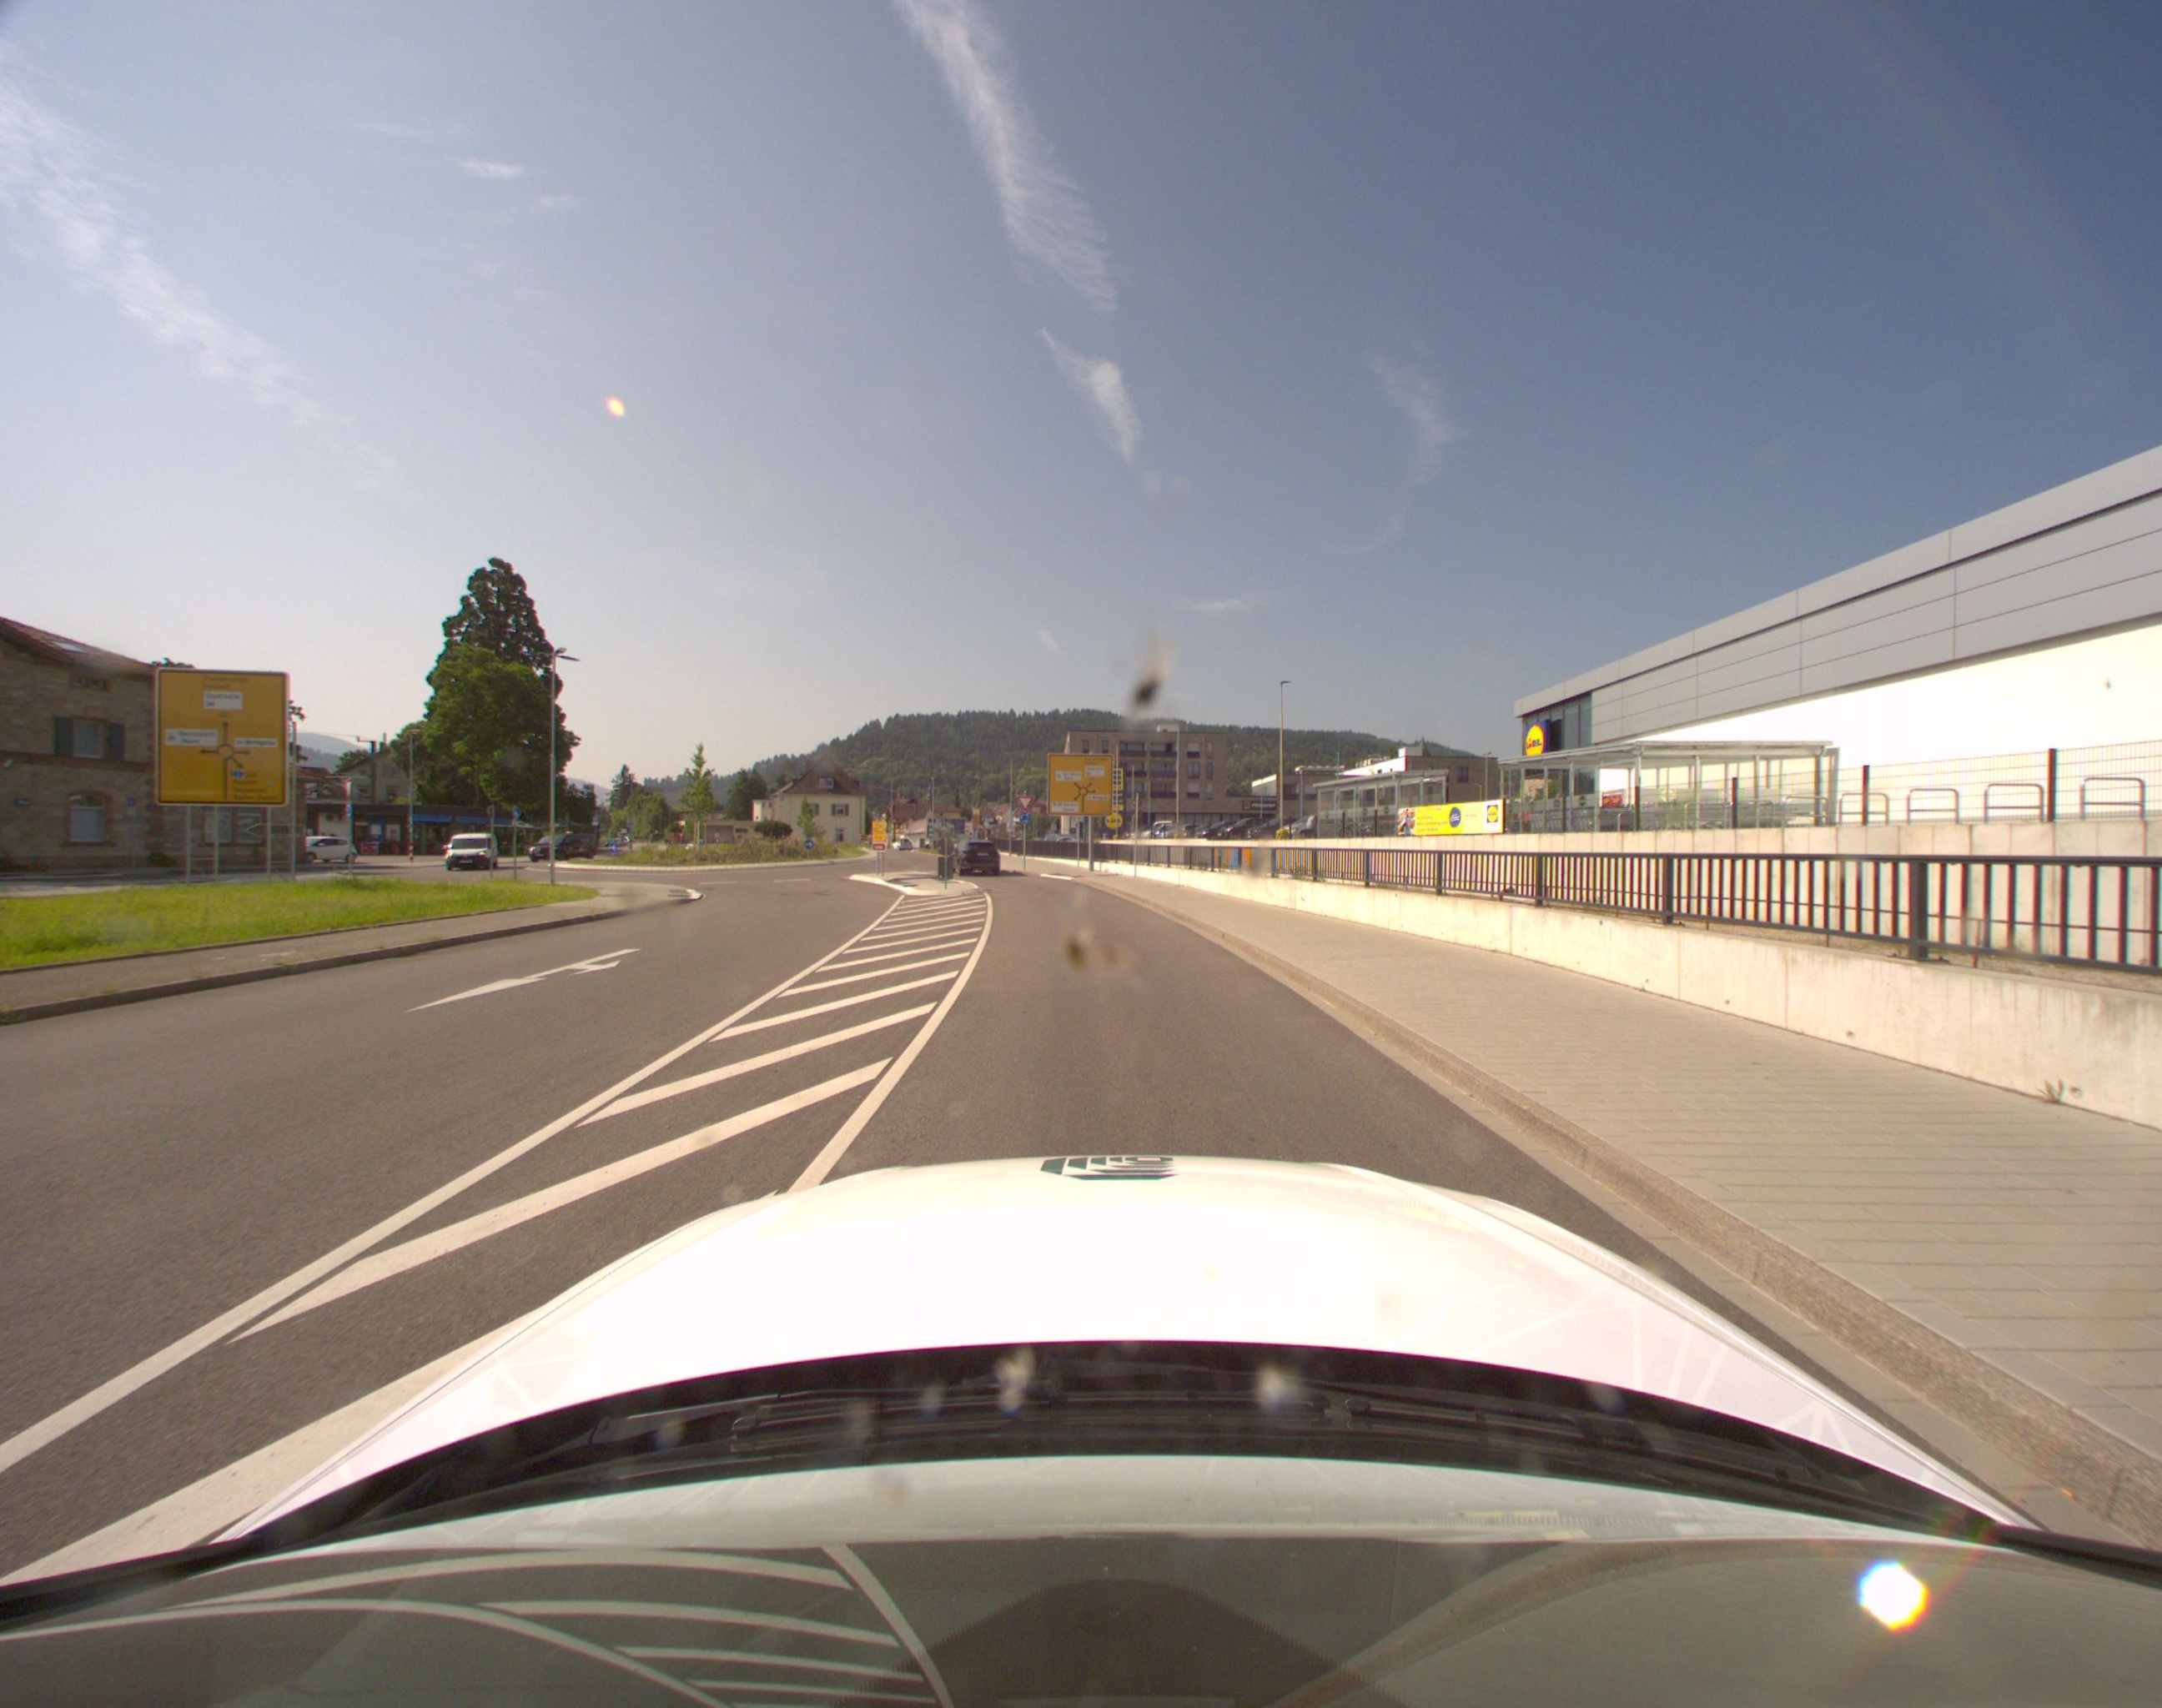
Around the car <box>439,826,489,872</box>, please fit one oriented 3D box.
[{"bbox_3d":[-31.626,-0.321,41.840,1.819,2.077,4.557,-1,4,-34],"label":"car"}]

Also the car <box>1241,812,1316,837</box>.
[{"bbox_3d":[11.438,-1.697,47.143,4.071,1.404,1.477,0,1,-17],"label":"car"}]

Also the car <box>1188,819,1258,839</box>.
[{"bbox_3d":[9.397,-1.663,53.986,4.223,1.245,1.734,0,1,-17],"label":"car"}]

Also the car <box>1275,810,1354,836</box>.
[{"bbox_3d":[12.612,-1.645,44.051,3.815,1.364,1.671,0,1,-17],"label":"car"}]

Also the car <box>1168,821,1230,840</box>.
[{"bbox_3d":[8.225,-1.638,56.836,3.976,1.245,1.720,0,1,-17],"label":"car"}]

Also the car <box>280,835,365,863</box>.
[{"bbox_3d":[-43.290,-0.270,46.582,1.382,1.450,3.540,0,-1,3],"label":"car"}]

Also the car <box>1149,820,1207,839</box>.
[{"bbox_3d":[7.322,-1.826,61.524,4.046,1.342,1.651,0,1,-17],"label":"car"}]

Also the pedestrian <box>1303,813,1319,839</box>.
[{"bbox_3d":[12.033,-1.455,42.605,0.548,1.312,0.653,0,0,-15],"label":"pedestrian"}]

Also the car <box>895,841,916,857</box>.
[{"bbox_3d":[-22.165,-0.645,102.975,1.990,2.013,3.994,-1,0,-4],"label":"car"}]

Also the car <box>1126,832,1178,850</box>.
[{"bbox_3d":[5.908,-1.080,67.823,4.062,1.487,1.708,0,1,-15],"label":"car"}]

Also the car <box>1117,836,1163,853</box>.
[{"bbox_3d":[5.079,-0.846,70.412,3.564,1.430,1.701,0,1,-17],"label":"car"}]

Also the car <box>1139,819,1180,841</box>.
[{"bbox_3d":[7.741,-2.377,80.834,3.968,2.136,2.003,-1,0,4],"label":"car"}]

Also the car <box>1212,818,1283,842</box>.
[{"bbox_3d":[10.396,-1.475,50.865,4.015,1.404,1.715,0,1,-17],"label":"car"}]

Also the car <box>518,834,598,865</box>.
[{"bbox_3d":[-34.850,-0.326,54.460,1.830,1.945,4.891,-1,0,6],"label":"car"}]

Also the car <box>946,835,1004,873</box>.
[{"bbox_3d":[-5.024,-0.024,38.150,1.887,1.684,3.973,-1,0,-20],"label":"car"}]

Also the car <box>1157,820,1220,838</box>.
[{"bbox_3d":[7.864,-1.817,59.491,4.289,1.245,1.655,0,1,-17],"label":"car"}]

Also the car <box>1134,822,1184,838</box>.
[{"bbox_3d":[6.209,-1.927,64.997,3.564,1.199,1.705,0,1,-17],"label":"car"}]

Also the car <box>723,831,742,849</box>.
[{"bbox_3d":[-41.092,-1.643,96.052,1.815,2.013,3.975,-1,2,-19],"label":"car"}]

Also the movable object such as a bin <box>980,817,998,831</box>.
[{"bbox_3d":[-12.654,-4.093,112.421,2.442,1.844,1.425,-1,0,-8],"label":"movable object such as a bin"}]
